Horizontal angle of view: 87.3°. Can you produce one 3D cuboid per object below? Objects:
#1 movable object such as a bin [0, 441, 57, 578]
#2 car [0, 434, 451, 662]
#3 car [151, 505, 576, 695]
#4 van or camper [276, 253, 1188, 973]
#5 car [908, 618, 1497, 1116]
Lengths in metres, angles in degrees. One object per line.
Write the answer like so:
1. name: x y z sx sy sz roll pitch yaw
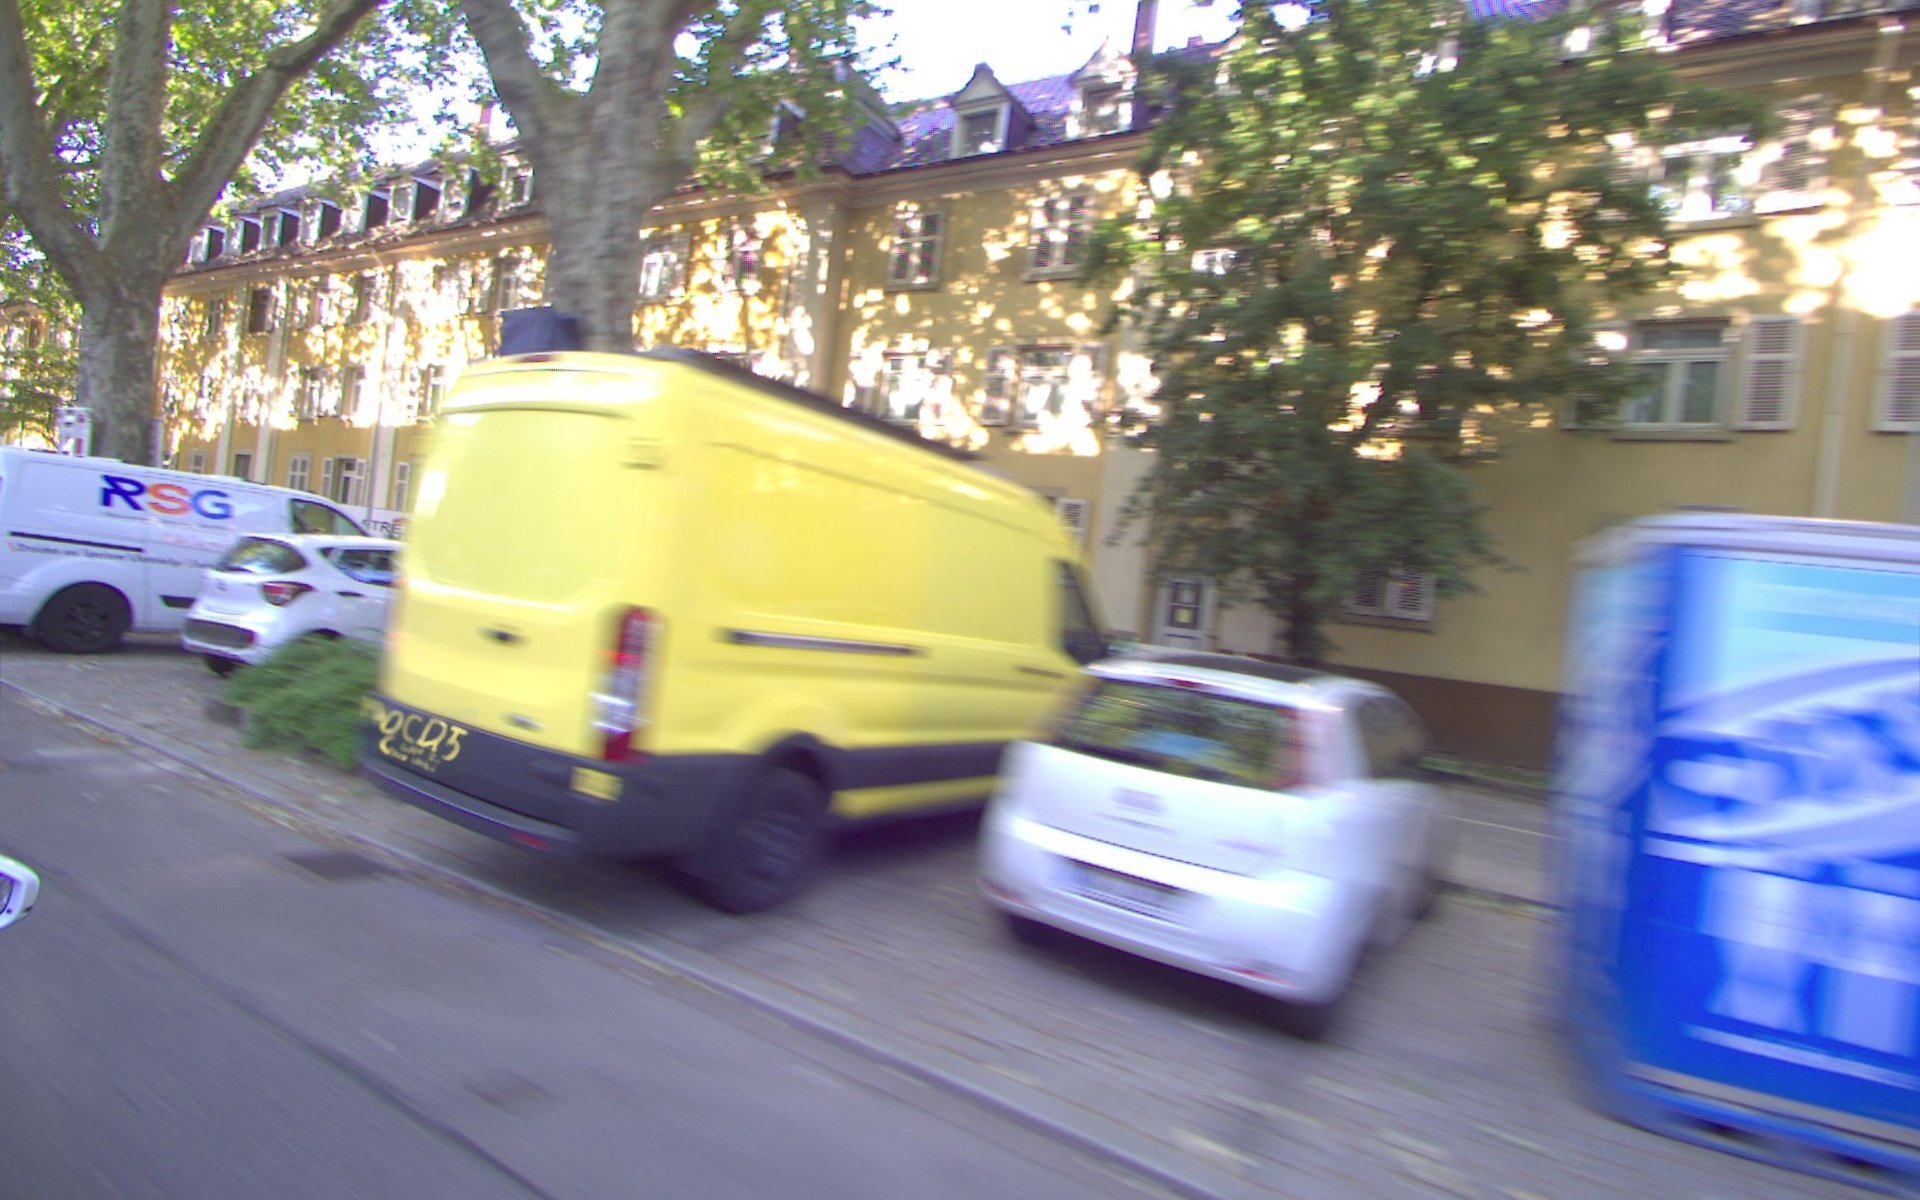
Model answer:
1. movable object such as a bin: -17.076 -1.620 17.101 1.468 2.296 3.257 7 0 -25
2. car: -8.828 -0.484 11.549 2.029 2.038 4.841 7 0 31
3. car: -6.003 0.092 10.491 1.669 1.558 3.310 7 -1 30
4. van or camper: -0.704 0.193 6.801 2.234 2.661 5.931 6 -1 33
5. car: 1.670 1.073 5.577 1.833 1.508 3.909 7 0 33
